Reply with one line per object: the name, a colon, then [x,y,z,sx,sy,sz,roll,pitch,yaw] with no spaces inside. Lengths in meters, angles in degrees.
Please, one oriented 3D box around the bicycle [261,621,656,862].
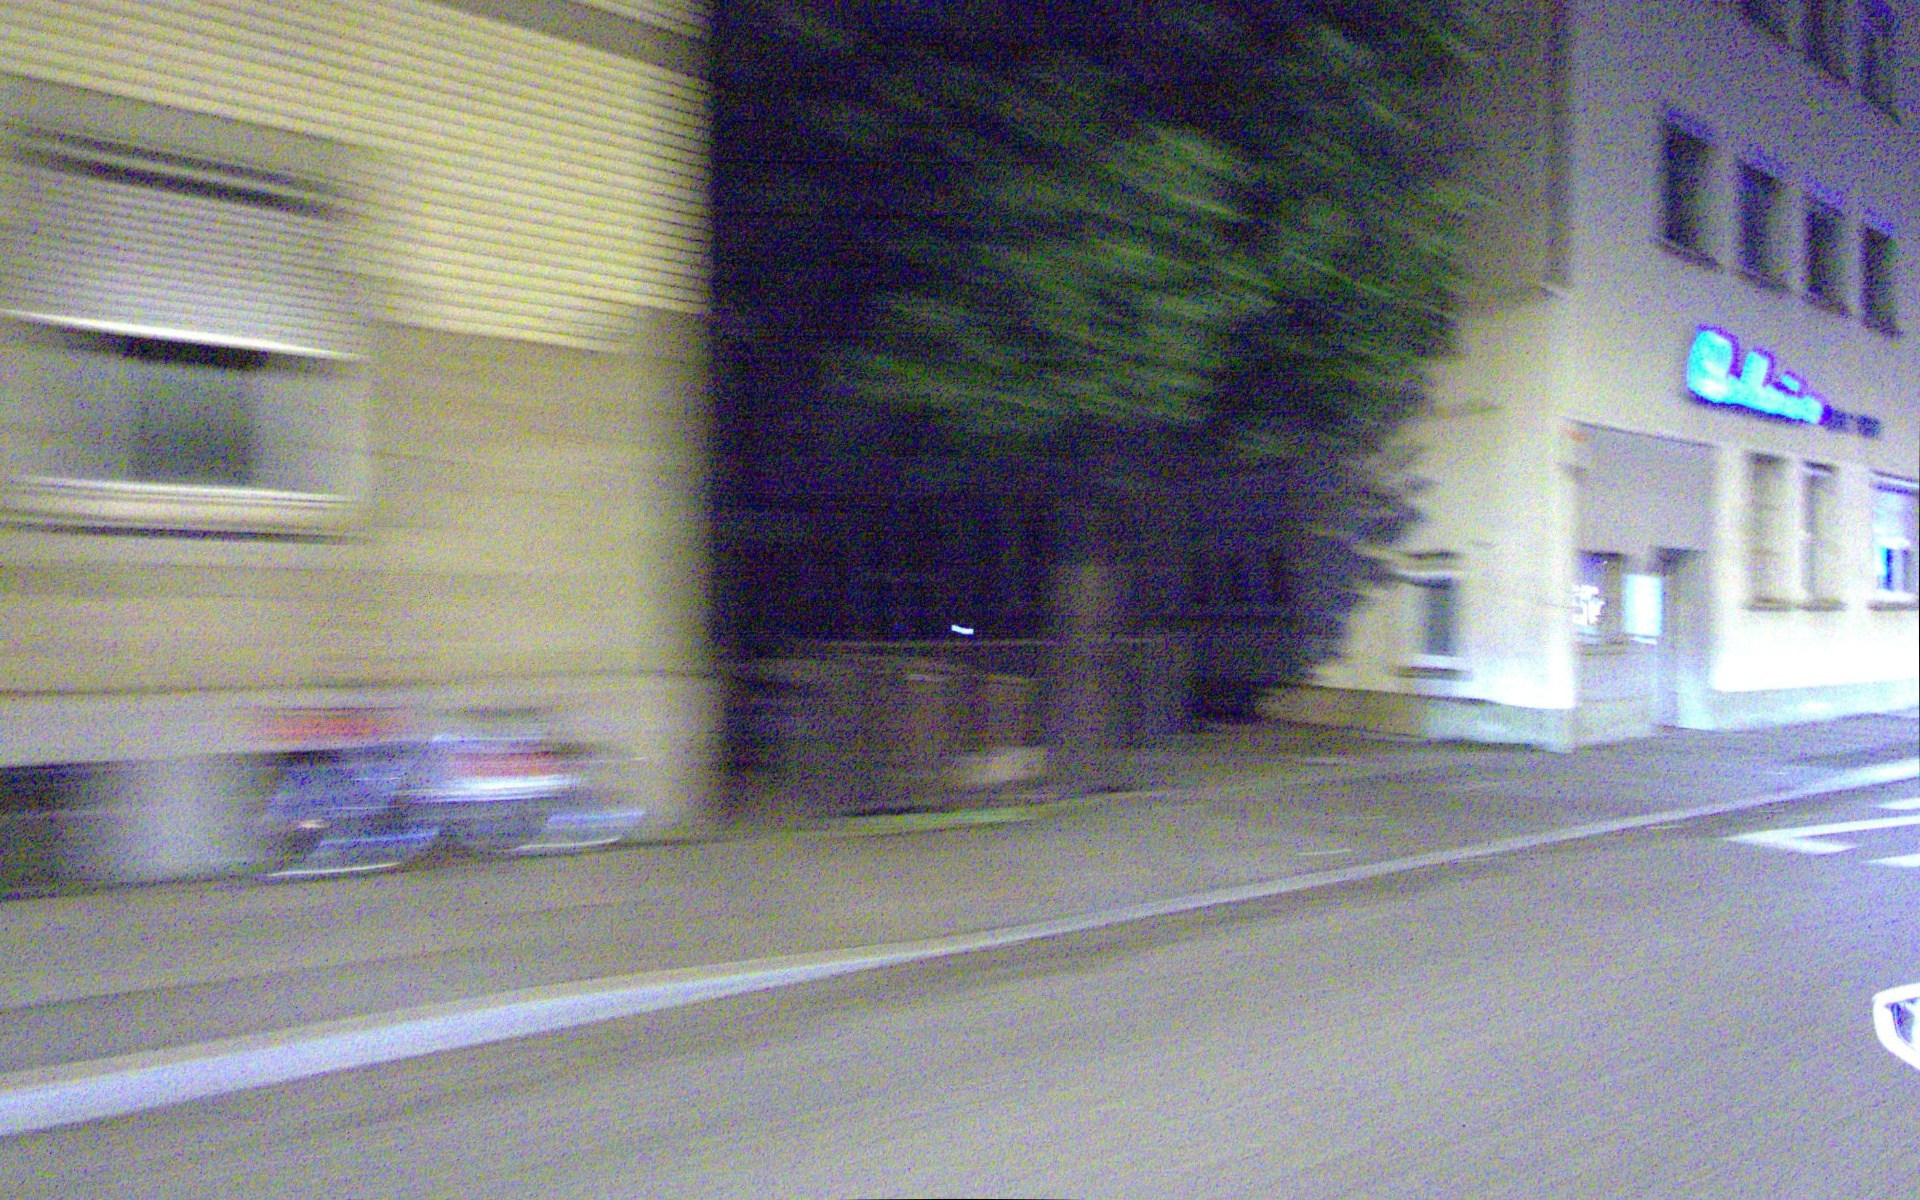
bicycle: [-2.515,0.663,5.177,1.701,1.065,0.616,2,-1,-30]
